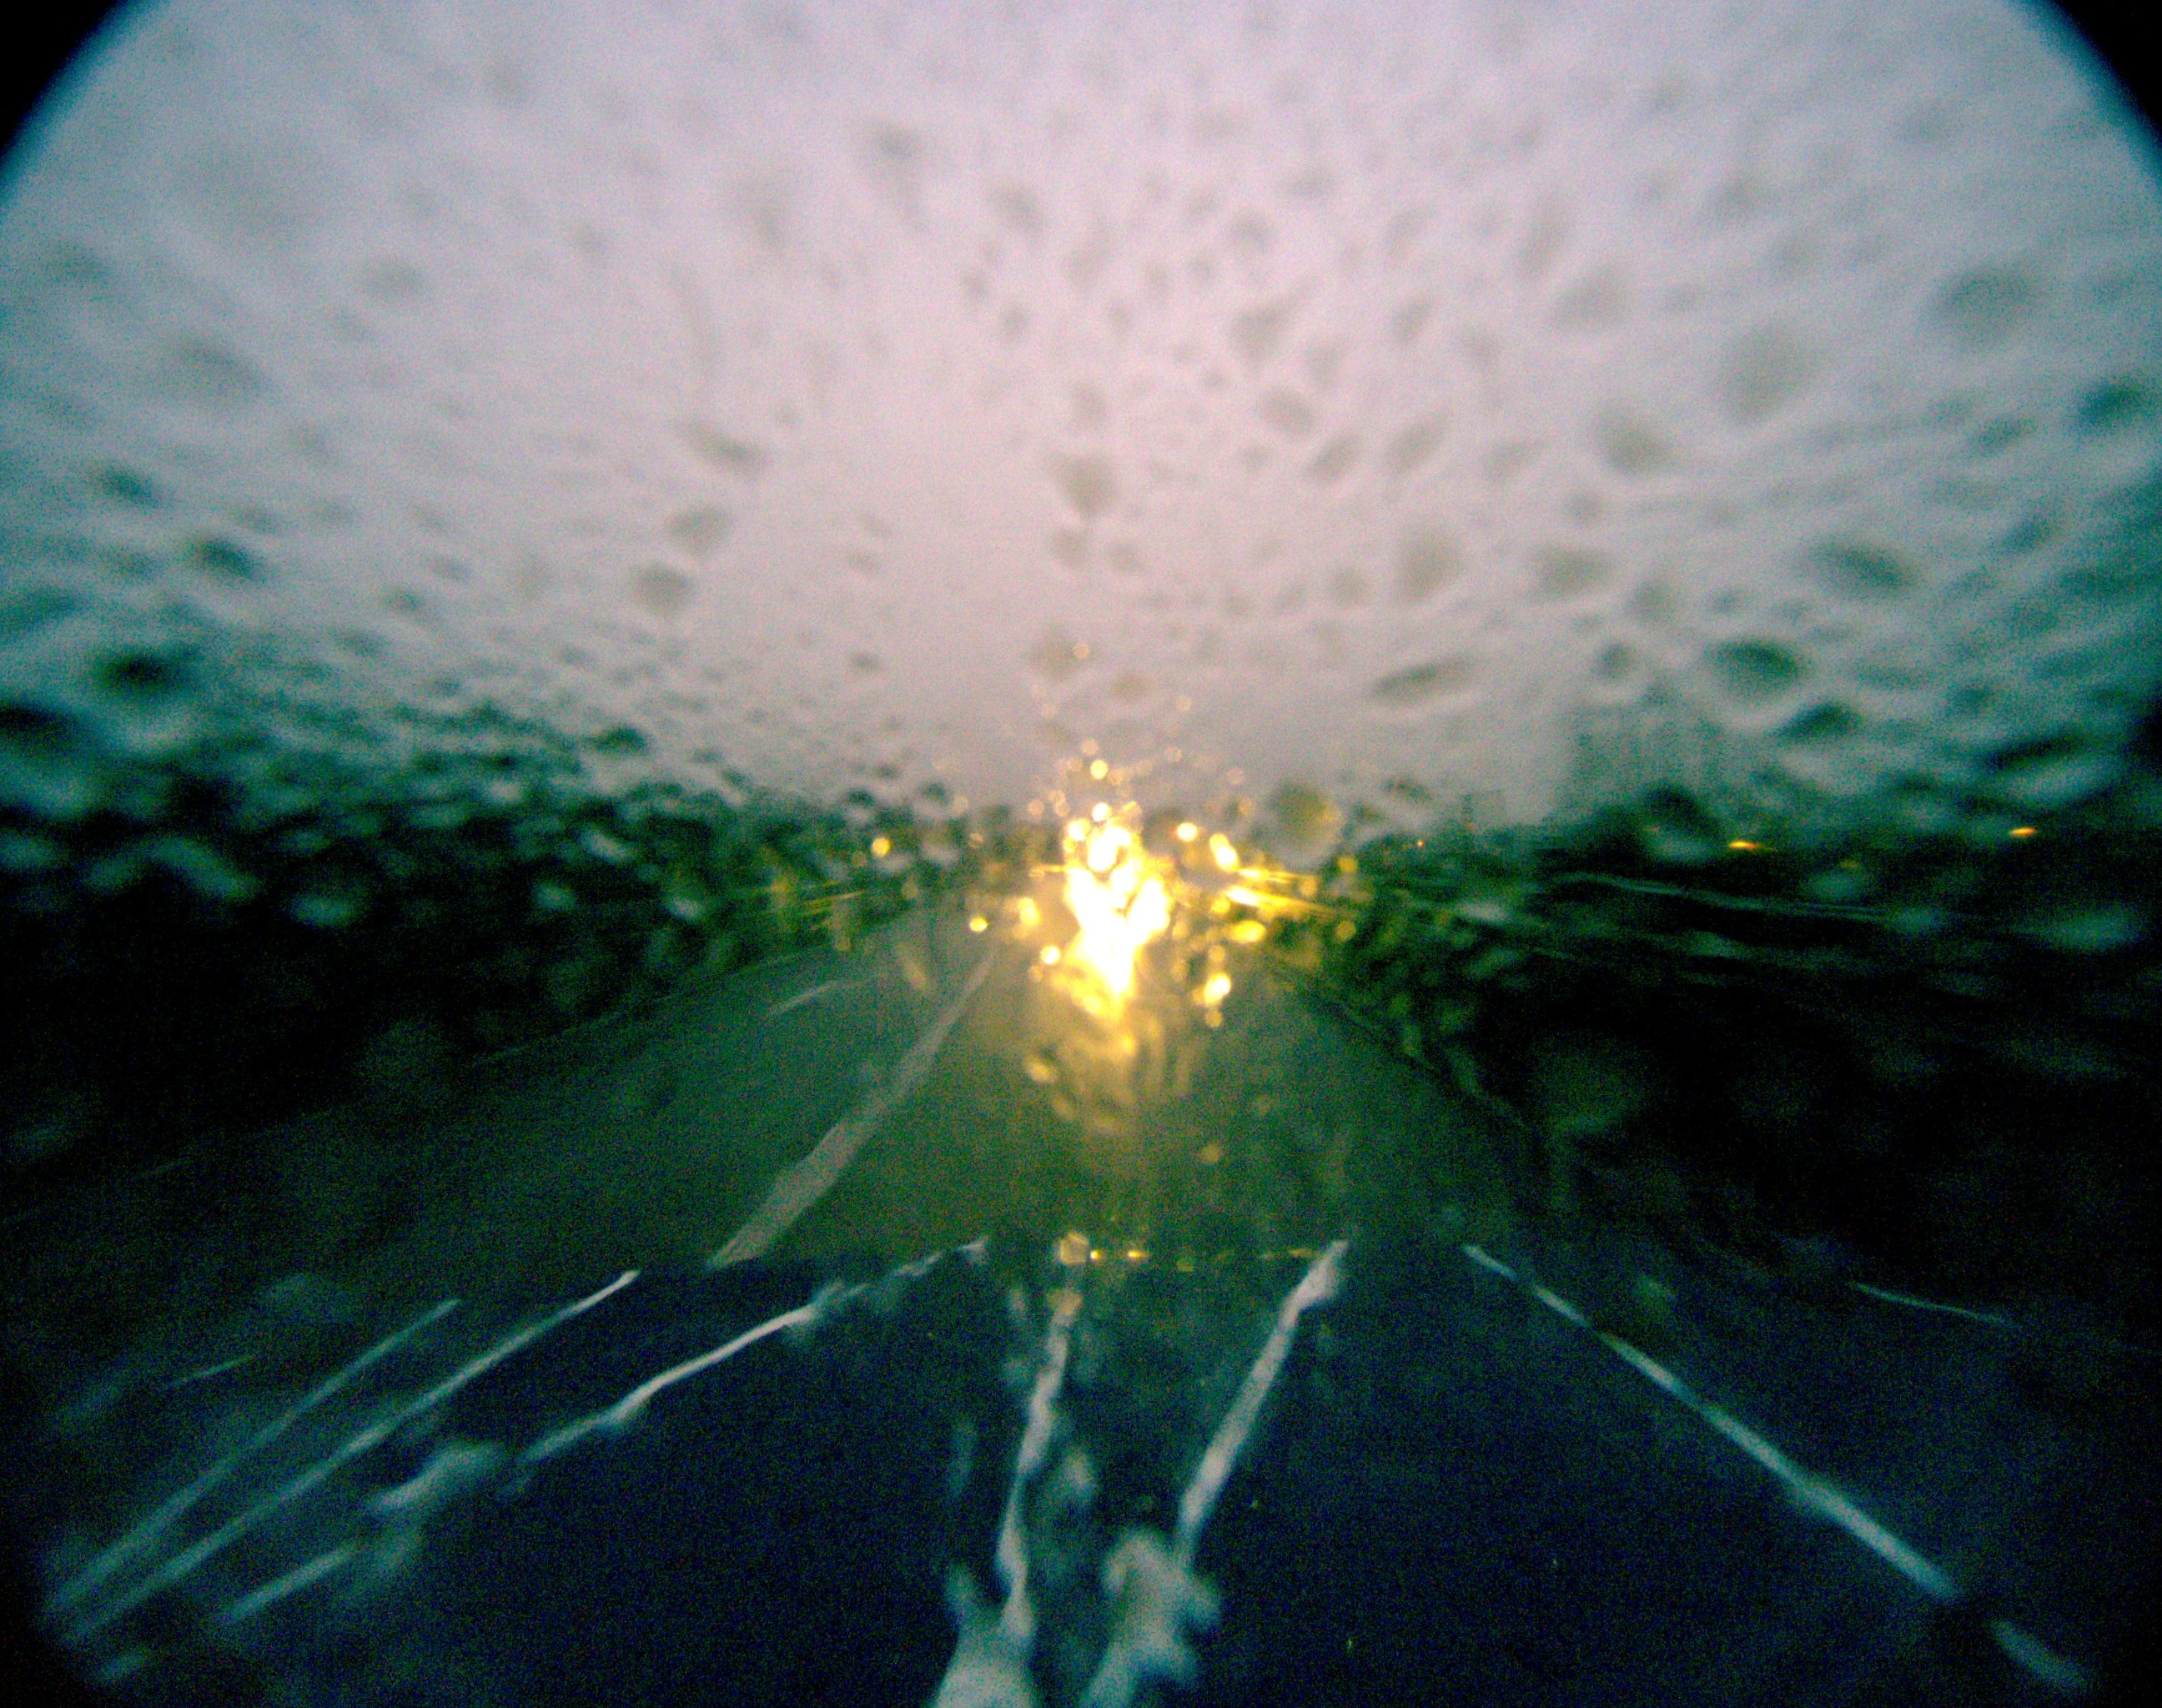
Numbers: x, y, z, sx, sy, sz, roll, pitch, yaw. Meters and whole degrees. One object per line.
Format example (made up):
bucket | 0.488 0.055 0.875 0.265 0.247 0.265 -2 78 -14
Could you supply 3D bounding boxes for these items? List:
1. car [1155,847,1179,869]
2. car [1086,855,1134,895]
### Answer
car | 9.156 0.424 81.395 2.054 2.250 5.207 -2 1 1
car | 1.226 0.842 32.626 1.886 1.514 4.000 -1 1 1
